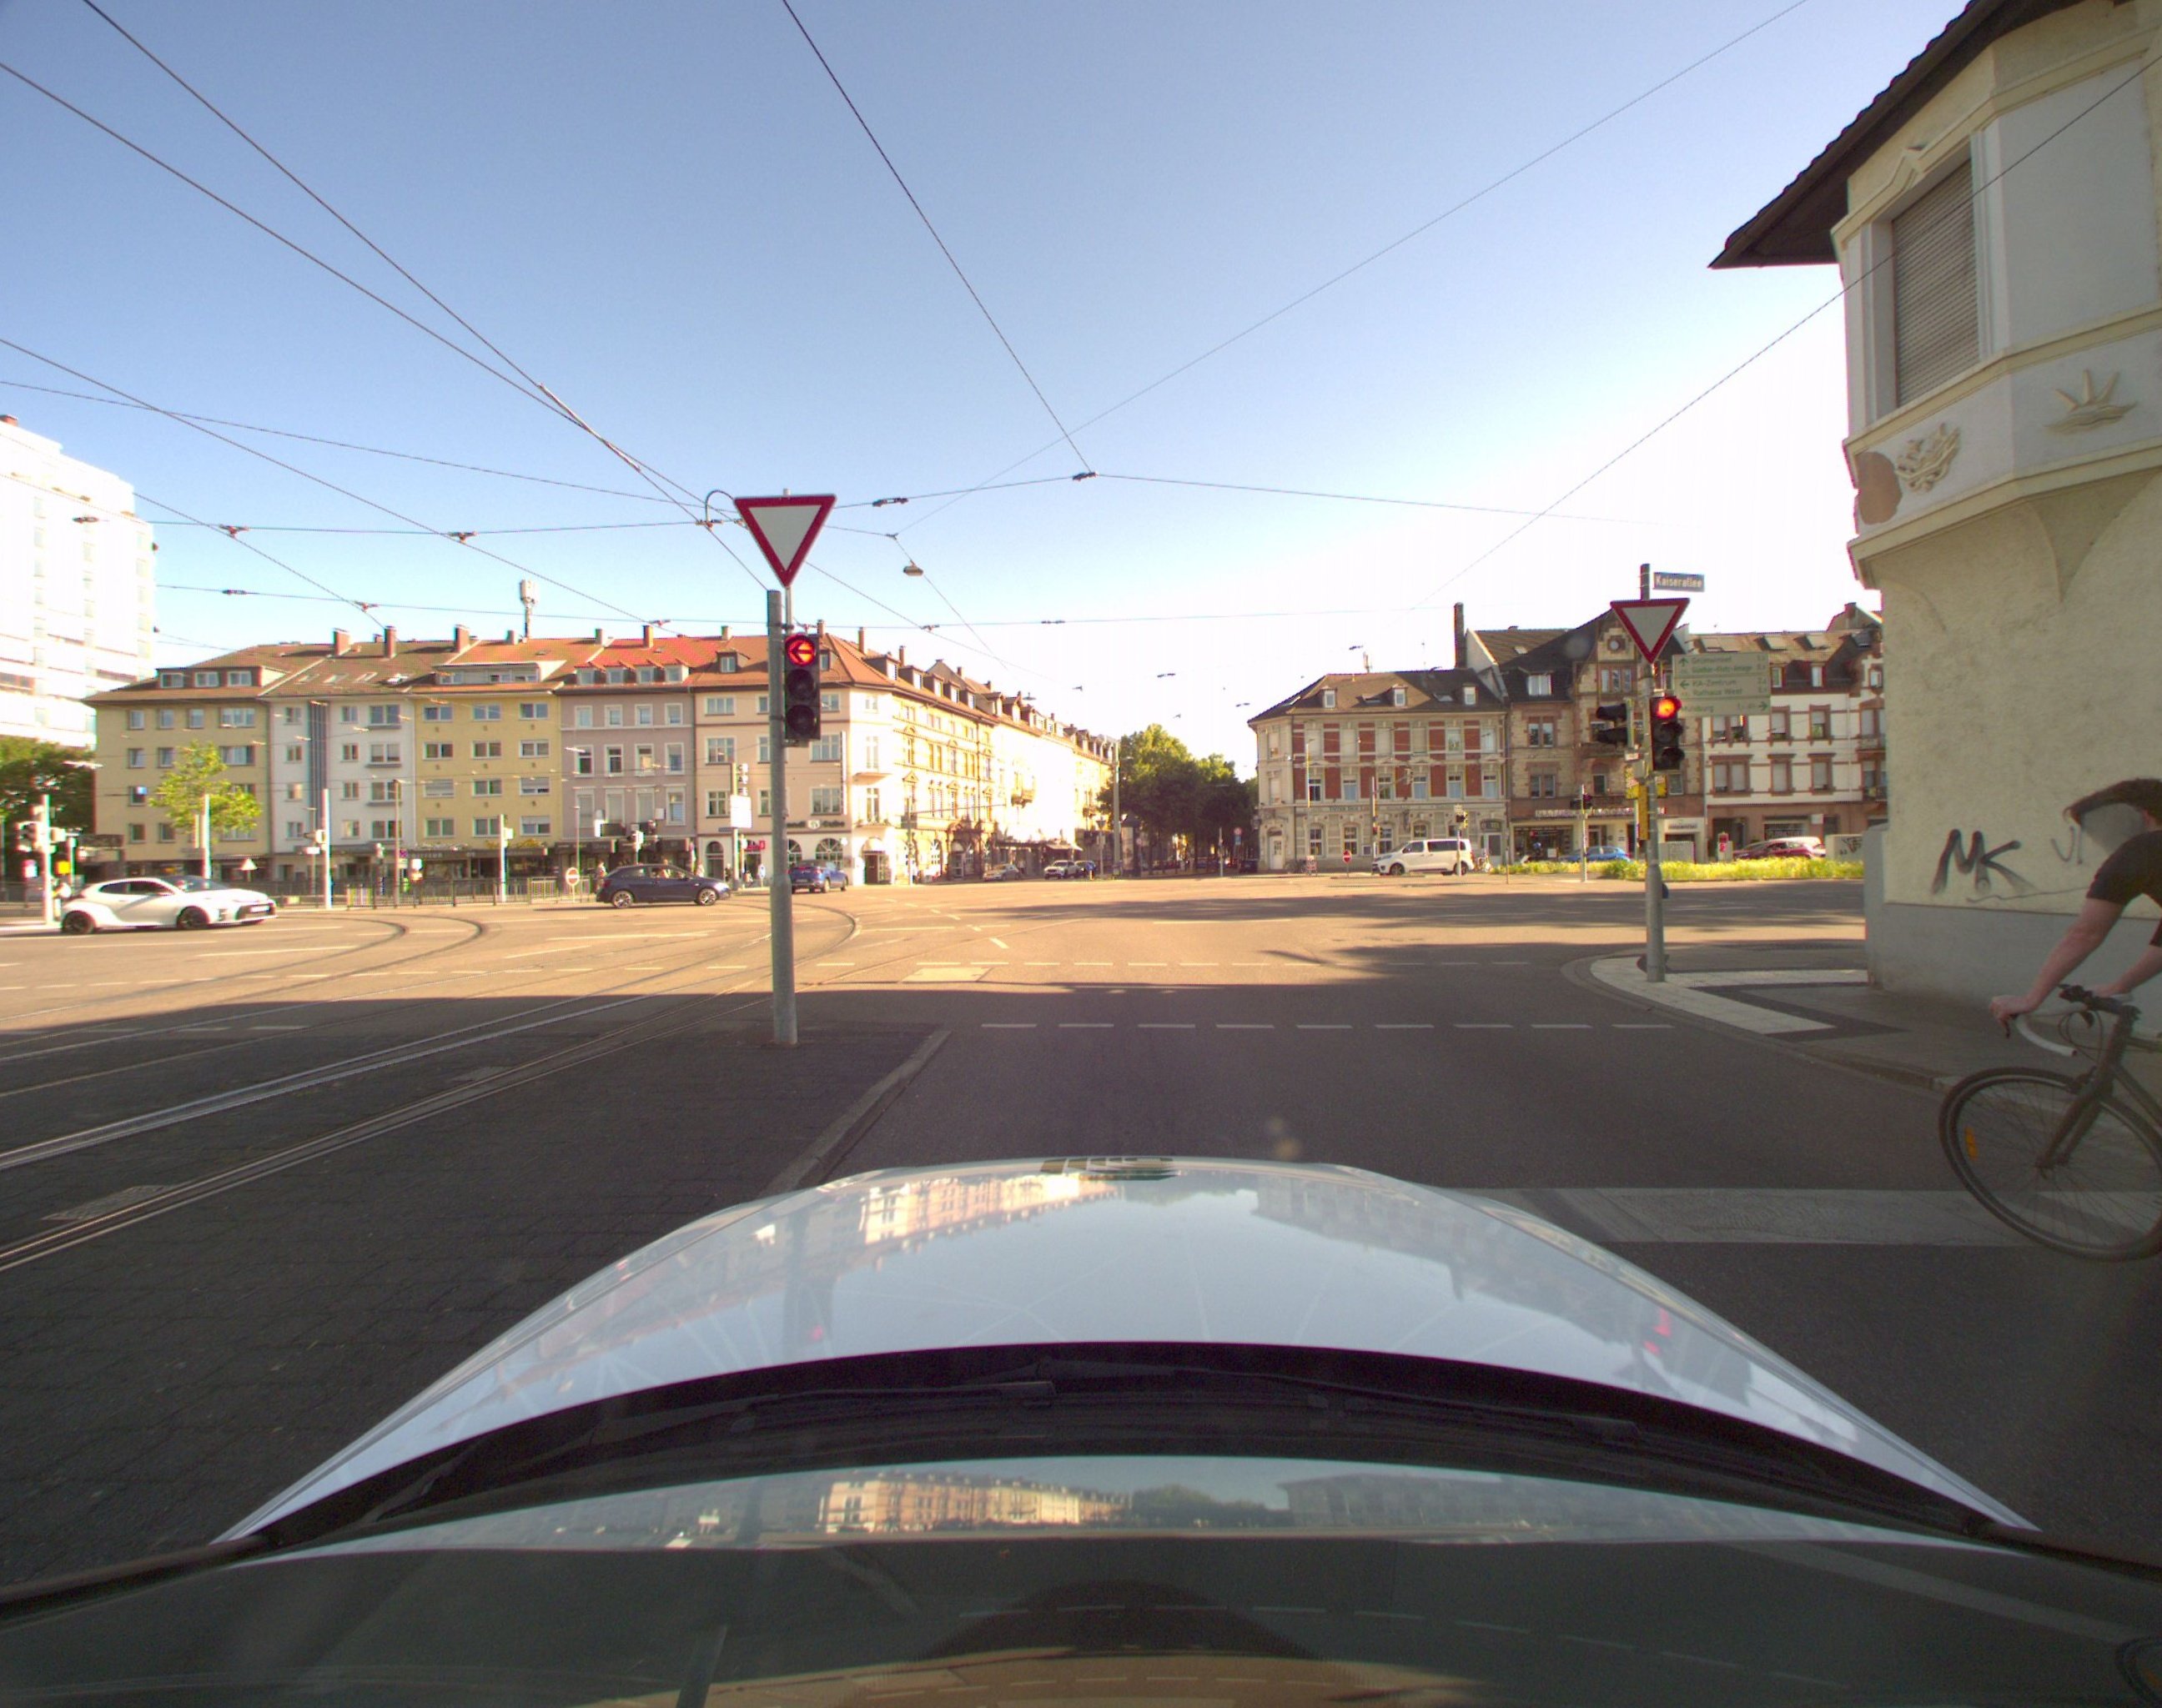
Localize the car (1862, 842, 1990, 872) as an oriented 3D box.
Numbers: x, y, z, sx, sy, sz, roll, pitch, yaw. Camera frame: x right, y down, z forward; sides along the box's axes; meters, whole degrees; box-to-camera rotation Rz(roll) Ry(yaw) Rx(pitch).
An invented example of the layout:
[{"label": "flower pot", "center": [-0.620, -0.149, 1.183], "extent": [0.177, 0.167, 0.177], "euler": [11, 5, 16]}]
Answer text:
[{"label": "car", "center": [44.481, 0.149, 42.950], "extent": [4.839, 1.469, 1.805], "euler": [-1, 1, 2]}]

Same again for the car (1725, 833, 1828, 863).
[{"label": "car", "center": [35.232, -0.323, 41.319], "extent": [3.854, 1.426, 1.596], "euler": [-1, 0, 2]}]

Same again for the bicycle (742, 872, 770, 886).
[{"label": "bicycle", "center": [-22.991, 1.755, 57.606], "extent": [1.694, 0.983, 0.611], "euler": [0, -1, 1]}]

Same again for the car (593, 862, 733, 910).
[{"label": "car", "center": [-13.798, 1.006, 26.962], "extent": [4.012, 1.403, 1.814], "euler": [-1, 0, -30]}]

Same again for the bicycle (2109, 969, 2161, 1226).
[{"label": "bicycle", "center": [4.455, 0.955, 2.449], "extent": [0.501, 0.983, 1.783], "euler": [0, -1, 2]}]

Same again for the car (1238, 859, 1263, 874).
[{"label": "car", "center": [17.099, 1.248, 82.250], "extent": [1.741, 1.556, 4.021], "euler": [-1, -1, 22]}]

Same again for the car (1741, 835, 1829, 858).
[{"label": "car", "center": [45.267, -0.452, 52.432], "extent": [3.961, 1.438, 1.874], "euler": [0, -1, 5]}]

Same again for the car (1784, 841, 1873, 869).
[{"label": "car", "center": [43.810, 0.056, 47.765], "extent": [3.584, 1.618, 1.779], "euler": [0, -1, 0]}]

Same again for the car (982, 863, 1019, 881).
[{"label": "car", "center": [-6.608, 1.473, 67.394], "extent": [1.647, 1.374, 3.909], "euler": [-1, -1, 17]}]

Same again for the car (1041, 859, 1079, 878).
[{"label": "car", "center": [-1.674, 1.175, 67.478], "extent": [1.788, 1.585, 4.179], "euler": [-1, -1, 19]}]

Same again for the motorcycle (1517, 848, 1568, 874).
[{"label": "motorcycle", "center": [23.560, 0.365, 41.603], "extent": [2.120, 1.333, 0.800], "euler": [-1, -1, 14]}]

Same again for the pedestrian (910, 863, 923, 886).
[{"label": "pedestrian", "center": [-12.093, 1.511, 59.706], "extent": [0.562, 1.642, 0.797], "euler": [-1, -1, 25]}]

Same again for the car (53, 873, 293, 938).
[{"label": "car", "center": [-24.340, 1.341, 21.983], "extent": [3.992, 1.454, 1.894], "euler": [-2, 0, -7]}]

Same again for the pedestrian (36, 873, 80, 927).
[{"label": "pedestrian", "center": [-31.687, 1.402, 25.238], "extent": [0.770, 1.609, 0.605], "euler": [0, -1, -44]}]

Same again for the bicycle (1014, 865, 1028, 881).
[{"label": "bicycle", "center": [-4.797, 1.534, 65.273], "extent": [0.561, 1.254, 1.564], "euler": [-1, -1, 17]}]

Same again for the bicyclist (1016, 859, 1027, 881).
[{"label": "bicyclist", "center": [-4.782, 1.269, 65.364], "extent": [0.561, 1.804, 0.918], "euler": [-1, -1, 17]}]

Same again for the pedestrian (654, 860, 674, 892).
[{"label": "pedestrian", "center": [-21.550, 1.113, 42.053], "extent": [0.580, 1.648, 0.840], "euler": [0, -1, 1]}]

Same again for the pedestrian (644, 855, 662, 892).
[{"label": "pedestrian", "center": [-21.568, 0.975, 41.060], "extent": [0.525, 1.823, 0.677], "euler": [0, -1, 1]}]

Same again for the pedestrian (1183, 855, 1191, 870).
[{"label": "pedestrian", "center": [14.635, 1.156, 112.597], "extent": [0.936, 2.014, 0.830], "euler": [-1, -1, 16]}]

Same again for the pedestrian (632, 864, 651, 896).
[{"label": "pedestrian", "center": [-22.961, 1.338, 42.514], "extent": [0.571, 1.648, 0.727], "euler": [0, -1, 1]}]

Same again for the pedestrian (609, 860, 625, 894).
[{"label": "pedestrian", "center": [-23.184, 1.145, 40.717], "extent": [0.520, 1.648, 0.498], "euler": [0, -1, 1]}]

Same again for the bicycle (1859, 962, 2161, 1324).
[{"label": "bicycle", "center": [3.585, 0.958, 2.628], "extent": [0.480, 0.991, 1.783], "euler": [0, -1, 2]}]

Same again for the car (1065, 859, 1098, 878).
[{"label": "car", "center": [0.067, 1.286, 73.778], "extent": [1.809, 1.685, 3.893], "euler": [-1, -1, 18]}]

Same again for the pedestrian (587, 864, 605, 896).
[{"label": "pedestrian", "center": [-25.071, 1.341, 42.097], "extent": [0.582, 1.648, 0.616], "euler": [0, -1, 1]}]

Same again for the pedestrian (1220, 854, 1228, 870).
[{"label": "pedestrian", "center": [17.951, 1.017, 102.221], "extent": [0.957, 2.014, 0.919], "euler": [0, -1, 3]}]

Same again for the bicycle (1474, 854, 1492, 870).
[{"label": "bicycle", "center": [26.012, 0.526, 52.684], "extent": [0.785, 1.016, 2.221], "euler": [-1, -1, 20]}]

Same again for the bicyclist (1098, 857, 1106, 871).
[{"label": "bicyclist", "center": [2.285, 1.059, 88.235], "extent": [0.668, 1.568, 0.751], "euler": [-1, -1, 20]}]

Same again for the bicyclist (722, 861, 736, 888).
[{"label": "bicyclist", "center": [-22.932, 1.330, 53.048], "extent": [0.618, 1.790, 0.616], "euler": [0, -1, 7]}]

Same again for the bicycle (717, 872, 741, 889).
[{"label": "bicycle", "center": [-22.932, 1.724, 53.045], "extent": [0.618, 1.030, 1.758], "euler": [0, -1, 7]}]

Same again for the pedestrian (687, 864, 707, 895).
[{"label": "pedestrian", "center": [-19.811, 1.313, 42.033], "extent": [0.666, 1.594, 0.815], "euler": [0, -1, 1]}]

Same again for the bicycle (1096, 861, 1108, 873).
[{"label": "bicycle", "center": [2.288, 1.388, 88.229], "extent": [0.668, 1.207, 1.831], "euler": [-1, -1, 20]}]

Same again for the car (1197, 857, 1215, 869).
[{"label": "car", "center": [17.876, 1.343, 116.375], "extent": [1.978, 1.684, 4.018], "euler": [-1, -1, 17]}]

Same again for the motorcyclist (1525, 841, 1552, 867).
[{"label": "motorcyclist", "center": [23.404, 0.017, 41.649], "extent": [1.007, 1.300, 0.792], "euler": [-1, -1, 14]}]

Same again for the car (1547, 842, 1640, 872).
[{"label": "car", "center": [28.325, 0.171, 45.120], "extent": [3.970, 1.622, 1.806], "euler": [0, -1, 3]}]

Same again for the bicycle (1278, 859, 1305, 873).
[{"label": "bicycle", "center": [14.705, 0.823, 56.923], "extent": [1.789, 0.963, 0.606], "euler": [-1, -1, 16]}]

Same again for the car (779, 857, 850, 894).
[{"label": "car", "center": [-12.228, 0.949, 37.646], "extent": [1.819, 1.575, 4.199], "euler": [-1, 0, 0]}]

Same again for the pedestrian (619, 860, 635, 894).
[{"label": "pedestrian", "center": [-22.575, 1.139, 40.491], "extent": [0.520, 1.648, 0.498], "euler": [0, -1, 1]}]

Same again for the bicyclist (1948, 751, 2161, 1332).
[{"label": "bicyclist", "center": [3.580, 0.571, 2.612], "extent": [0.587, 1.767, 0.936], "euler": [0, -1, 2]}]

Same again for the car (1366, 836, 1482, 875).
[{"label": "car", "center": [17.670, 0.079, 42.172], "extent": [5.177, 1.854, 2.002], "euler": [-1, 0, 2]}]
